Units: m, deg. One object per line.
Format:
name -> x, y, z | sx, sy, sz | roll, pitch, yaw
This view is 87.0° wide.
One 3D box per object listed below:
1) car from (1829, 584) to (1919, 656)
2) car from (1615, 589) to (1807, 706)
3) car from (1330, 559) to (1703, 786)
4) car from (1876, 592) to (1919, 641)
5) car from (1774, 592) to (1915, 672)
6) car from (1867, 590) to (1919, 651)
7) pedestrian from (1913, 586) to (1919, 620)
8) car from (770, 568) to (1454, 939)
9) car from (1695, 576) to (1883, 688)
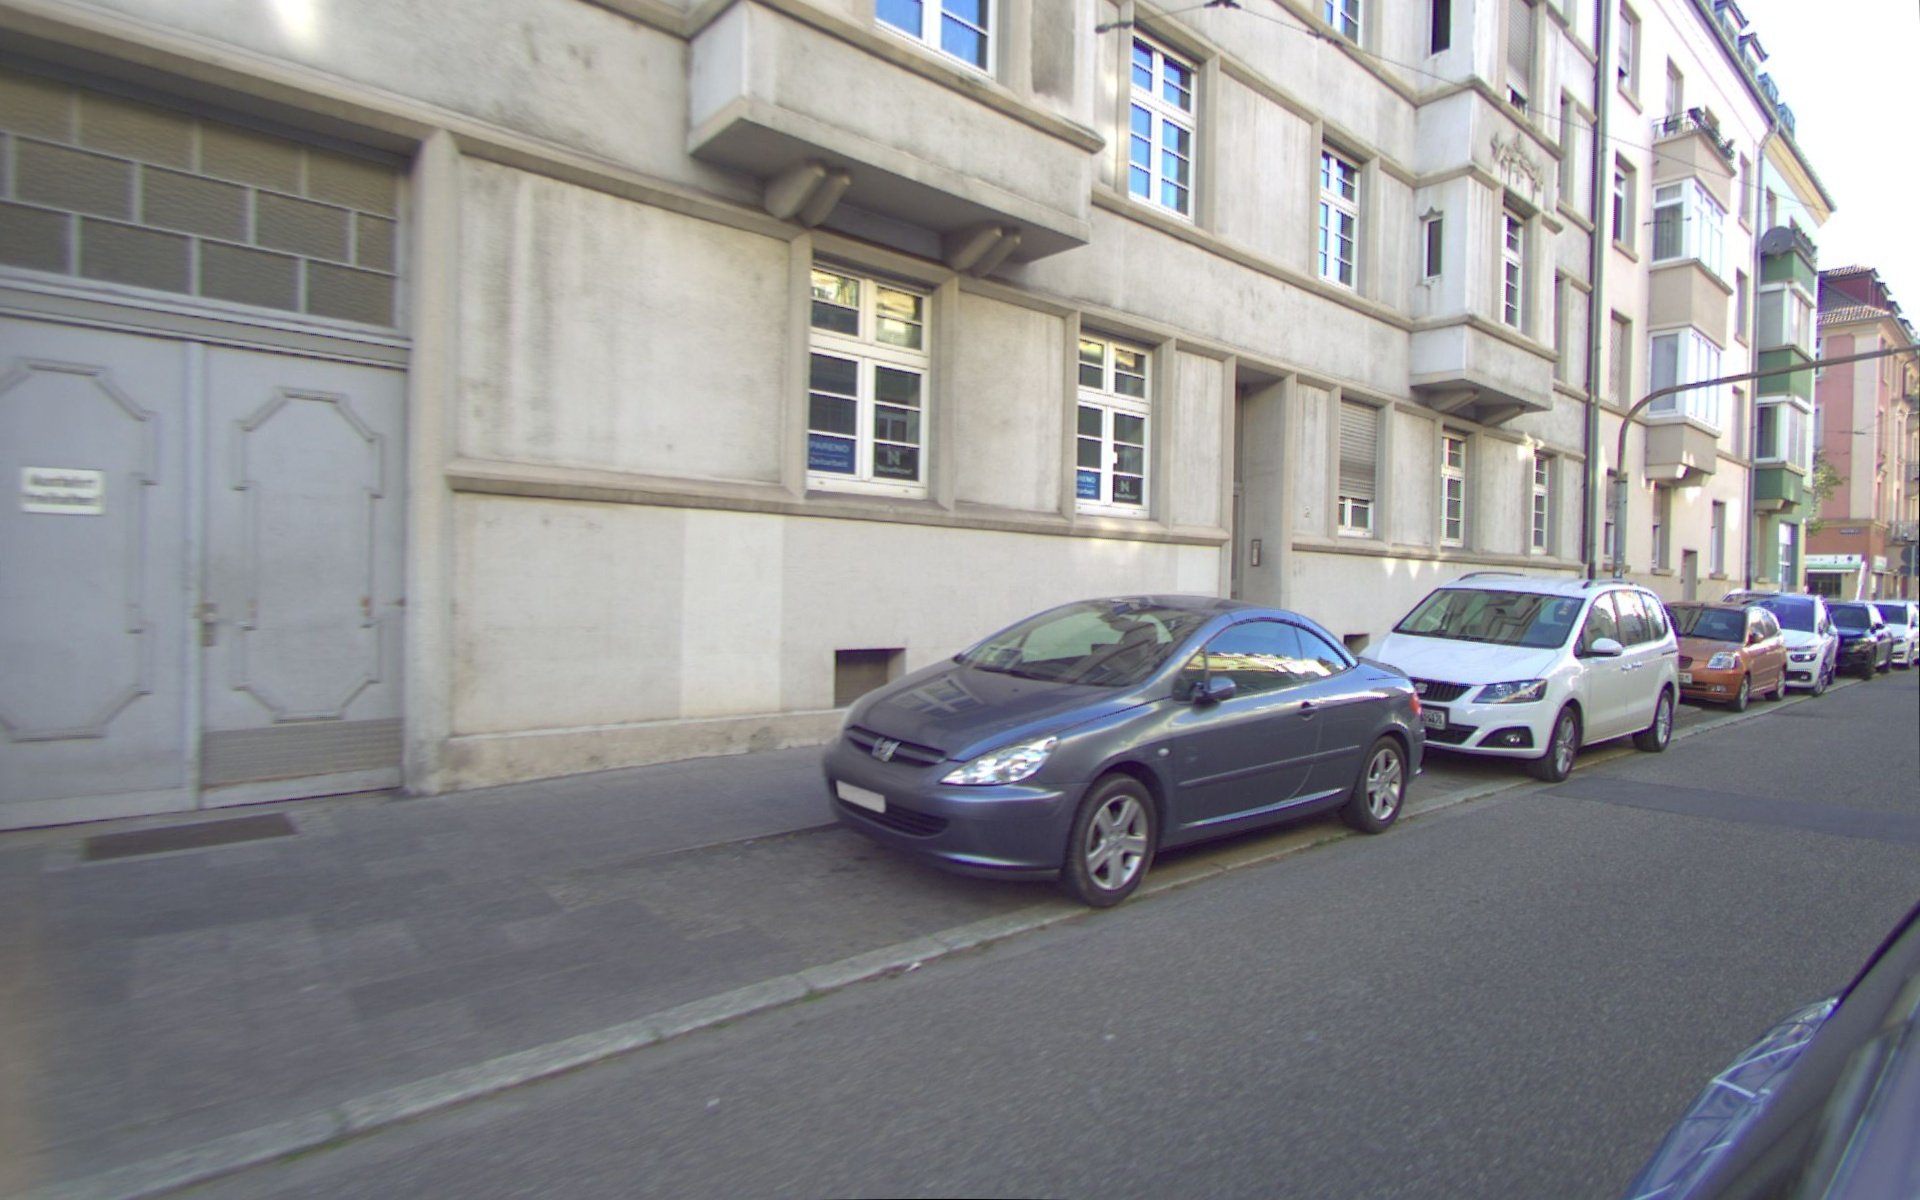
car -> 22.754, 0.437, 24.772 | 3.892, 1.610, 1.702 | 0, 1, -41
car -> 11.327, 0.626, 15.215 | 3.305, 1.502, 1.570 | 0, 2, -40
car -> 5.574, 0.525, 9.859 | 4.510, 1.714, 1.712 | 0, 2, -41
car -> 31.552, 0.540, 33.202 | 3.713, 1.492, 1.703 | 0, 2, -40
car -> 18.881, 0.621, 21.561 | 3.794, 1.524, 1.702 | 0, 1, -40
car -> 27.162, 0.564, 28.671 | 3.295, 1.610, 1.703 | 0, 2, -40
pedestrian -> 43.204, 0.143, 45.427 | 0.483, 1.510, 0.526 | 0, 1, -40
car -> 1.125, 0.602, 6.066 | 4.130, 1.470, 1.704 | 0, 2, -39
car -> 14.705, 0.496, 17.878 | 4.112, 1.719, 1.703 | 0, 2, -39
